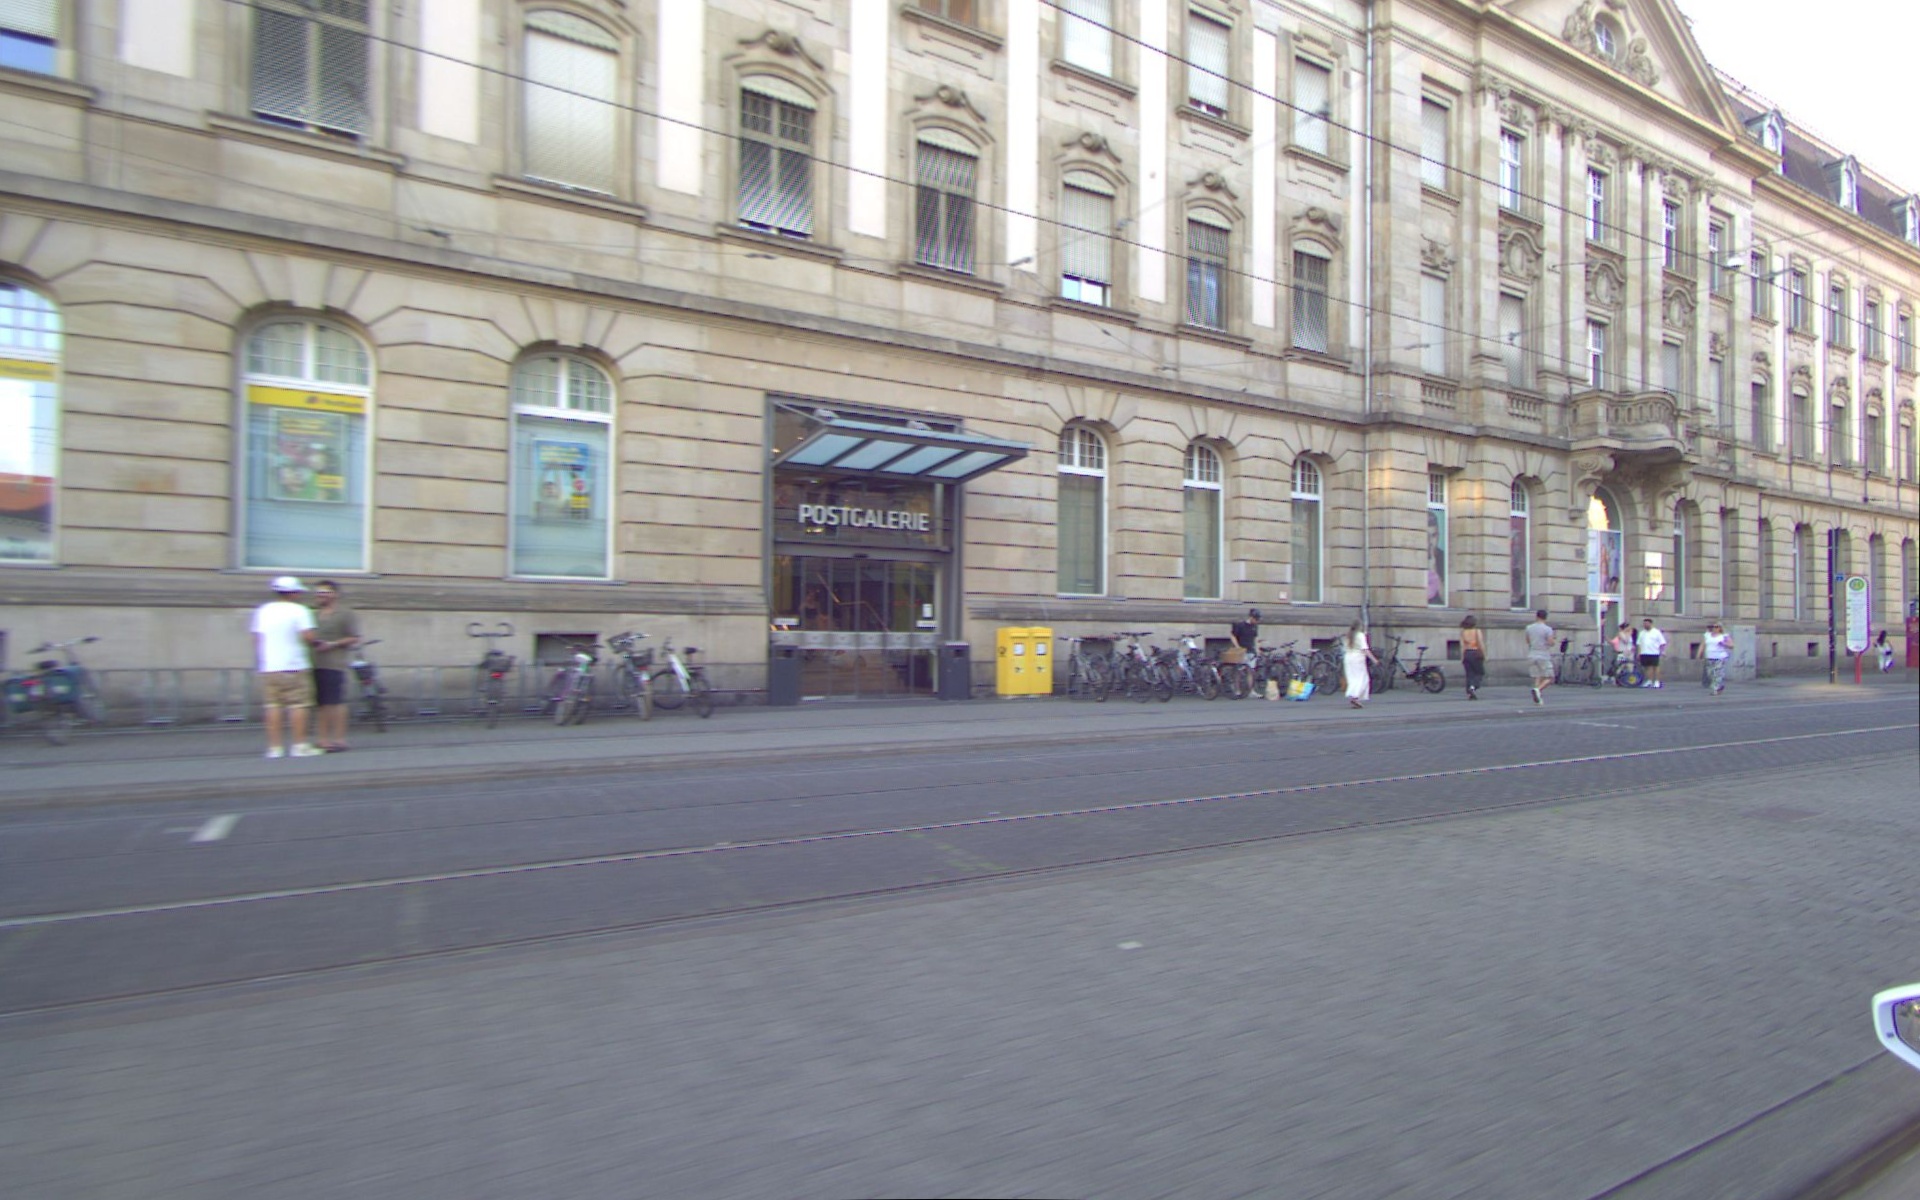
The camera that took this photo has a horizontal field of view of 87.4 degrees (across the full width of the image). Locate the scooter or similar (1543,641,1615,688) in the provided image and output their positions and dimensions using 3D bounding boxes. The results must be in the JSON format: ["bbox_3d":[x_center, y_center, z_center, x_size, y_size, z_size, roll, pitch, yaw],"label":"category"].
[{"bbox_3d":[15.468,1.598,25.138,0.445,1.082,1.542,2,-1,-25],"label":"scooter or similar"}]

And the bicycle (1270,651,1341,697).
[{"bbox_3d":[7.299,1.553,21.280,0.445,0.885,1.571,2,-1,-25],"label":"bicycle"}]

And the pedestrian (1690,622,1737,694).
[{"bbox_3d":[17.061,1.305,22.739,0.672,1.582,0.656,1,-1,-30],"label":"pedestrian"}]

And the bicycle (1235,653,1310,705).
[{"bbox_3d":[6.080,1.526,19.628,0.445,0.885,1.571,2,-1,-25],"label":"bicycle"}]

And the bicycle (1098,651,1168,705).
[{"bbox_3d":[3.177,1.427,18.591,0.445,0.885,1.571,2,-1,-25],"label":"bicycle"}]

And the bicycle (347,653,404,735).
[{"bbox_3d":[-7.259,1.141,12.514,0.445,0.885,1.571,2,-1,-25],"label":"bicycle"}]

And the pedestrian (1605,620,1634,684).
[{"bbox_3d":[17.212,1.355,26.232,0.597,1.664,0.334,2,-1,-23],"label":"pedestrian"}]

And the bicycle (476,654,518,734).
[{"bbox_3d":[-5.950,1.176,12.914,0.445,0.885,1.571,2,-1,-25],"label":"bicycle"}]

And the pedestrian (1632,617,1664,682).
[{"bbox_3d":[17.874,1.283,26.082,0.556,1.664,0.473,2,-1,-30],"label":"pedestrian"}]

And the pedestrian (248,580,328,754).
[{"bbox_3d":[-6.595,0.646,9.864,0.483,1.652,0.376,1,-1,10],"label":"pedestrian"}]

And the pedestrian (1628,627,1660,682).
[{"bbox_3d":[18.541,1.481,27.231,0.560,1.459,0.441,1,-1,7],"label":"pedestrian"}]

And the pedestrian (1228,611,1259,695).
[{"bbox_3d":[5.664,1.061,20.065,0.424,1.655,0.363,2,-1,-24],"label":"pedestrian"}]

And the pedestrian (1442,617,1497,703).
[{"bbox_3d":[10.449,1.214,20.616,0.806,1.734,0.689,1,-1,-30],"label":"pedestrian"}]

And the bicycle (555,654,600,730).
[{"bbox_3d":[-5.165,1.207,13.523,0.445,0.885,1.571,2,-1,-25],"label":"bicycle"}]

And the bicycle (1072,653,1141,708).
[{"bbox_3d":[2.641,1.436,18.239,0.445,0.885,1.571,2,-1,-25],"label":"bicycle"}]

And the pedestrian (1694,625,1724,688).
[{"bbox_3d":[19.714,1.484,26.452,0.432,1.626,0.572,1,-1,16],"label":"pedestrian"}]

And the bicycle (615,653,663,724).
[{"bbox_3d":[-4.610,1.235,14.376,0.445,0.885,1.571,2,-1,-25],"label":"bicycle"}]

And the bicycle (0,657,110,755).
[{"bbox_3d":[-9.654,1.096,10.728,0.445,0.885,1.571,2,-1,-25],"label":"bicycle"}]

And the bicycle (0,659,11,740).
[{"bbox_3d":[-10.582,1.098,10.505,0.445,0.885,1.571,2,-1,-25],"label":"bicycle"}]

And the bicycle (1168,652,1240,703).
[{"bbox_3d":[4.672,1.471,19.320,0.445,0.885,1.571,2,-1,-25],"label":"bicycle"}]

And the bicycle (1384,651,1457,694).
[{"bbox_3d":[10.419,1.633,22.774,0.445,0.885,1.571,2,-1,-25],"label":"bicycle"}]

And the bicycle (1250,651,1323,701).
[{"bbox_3d":[6.563,1.517,20.263,0.445,0.885,1.571,2,-1,-25],"label":"bicycle"}]

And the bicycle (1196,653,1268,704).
[{"bbox_3d":[5.265,1.502,19.546,0.445,0.885,1.571,2,-1,-25],"label":"bicycle"}]

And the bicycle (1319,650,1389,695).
[{"bbox_3d":[8.661,1.584,22.132,0.445,0.885,1.571,2,-1,-25],"label":"bicycle"}]

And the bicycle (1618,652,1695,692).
[{"bbox_3d":[17.499,1.800,25.279,0.445,0.885,1.571,2,-1,-25],"label":"bicycle"}]

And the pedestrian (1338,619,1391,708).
[{"bbox_3d":[6.982,1.081,17.337,0.685,1.486,0.552,0,-2,45],"label":"pedestrian"}]

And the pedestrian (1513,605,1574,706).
[{"bbox_3d":[10.874,1.026,18.735,0.805,1.837,0.689,1,-1,-30],"label":"pedestrian"}]

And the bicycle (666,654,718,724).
[{"bbox_3d":[-3.898,1.257,14.556,0.445,0.885,1.571,2,-1,-25],"label":"bicycle"}]

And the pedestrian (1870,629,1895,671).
[{"bbox_3d":[34.908,1.890,38.016,0.675,1.582,0.653,2,-1,-44],"label":"pedestrian"}]

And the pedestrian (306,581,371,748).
[{"bbox_3d":[-6.462,0.659,10.457,0.487,1.695,0.374,2,-1,-26],"label":"pedestrian"}]

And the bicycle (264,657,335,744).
[{"bbox_3d":[-7.839,1.165,11.968,0.445,0.885,1.571,2,-1,-25],"label":"bicycle"}]

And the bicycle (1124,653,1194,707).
[{"bbox_3d":[3.705,1.481,18.829,0.445,0.885,1.571,2,-1,-25],"label":"bicycle"}]
